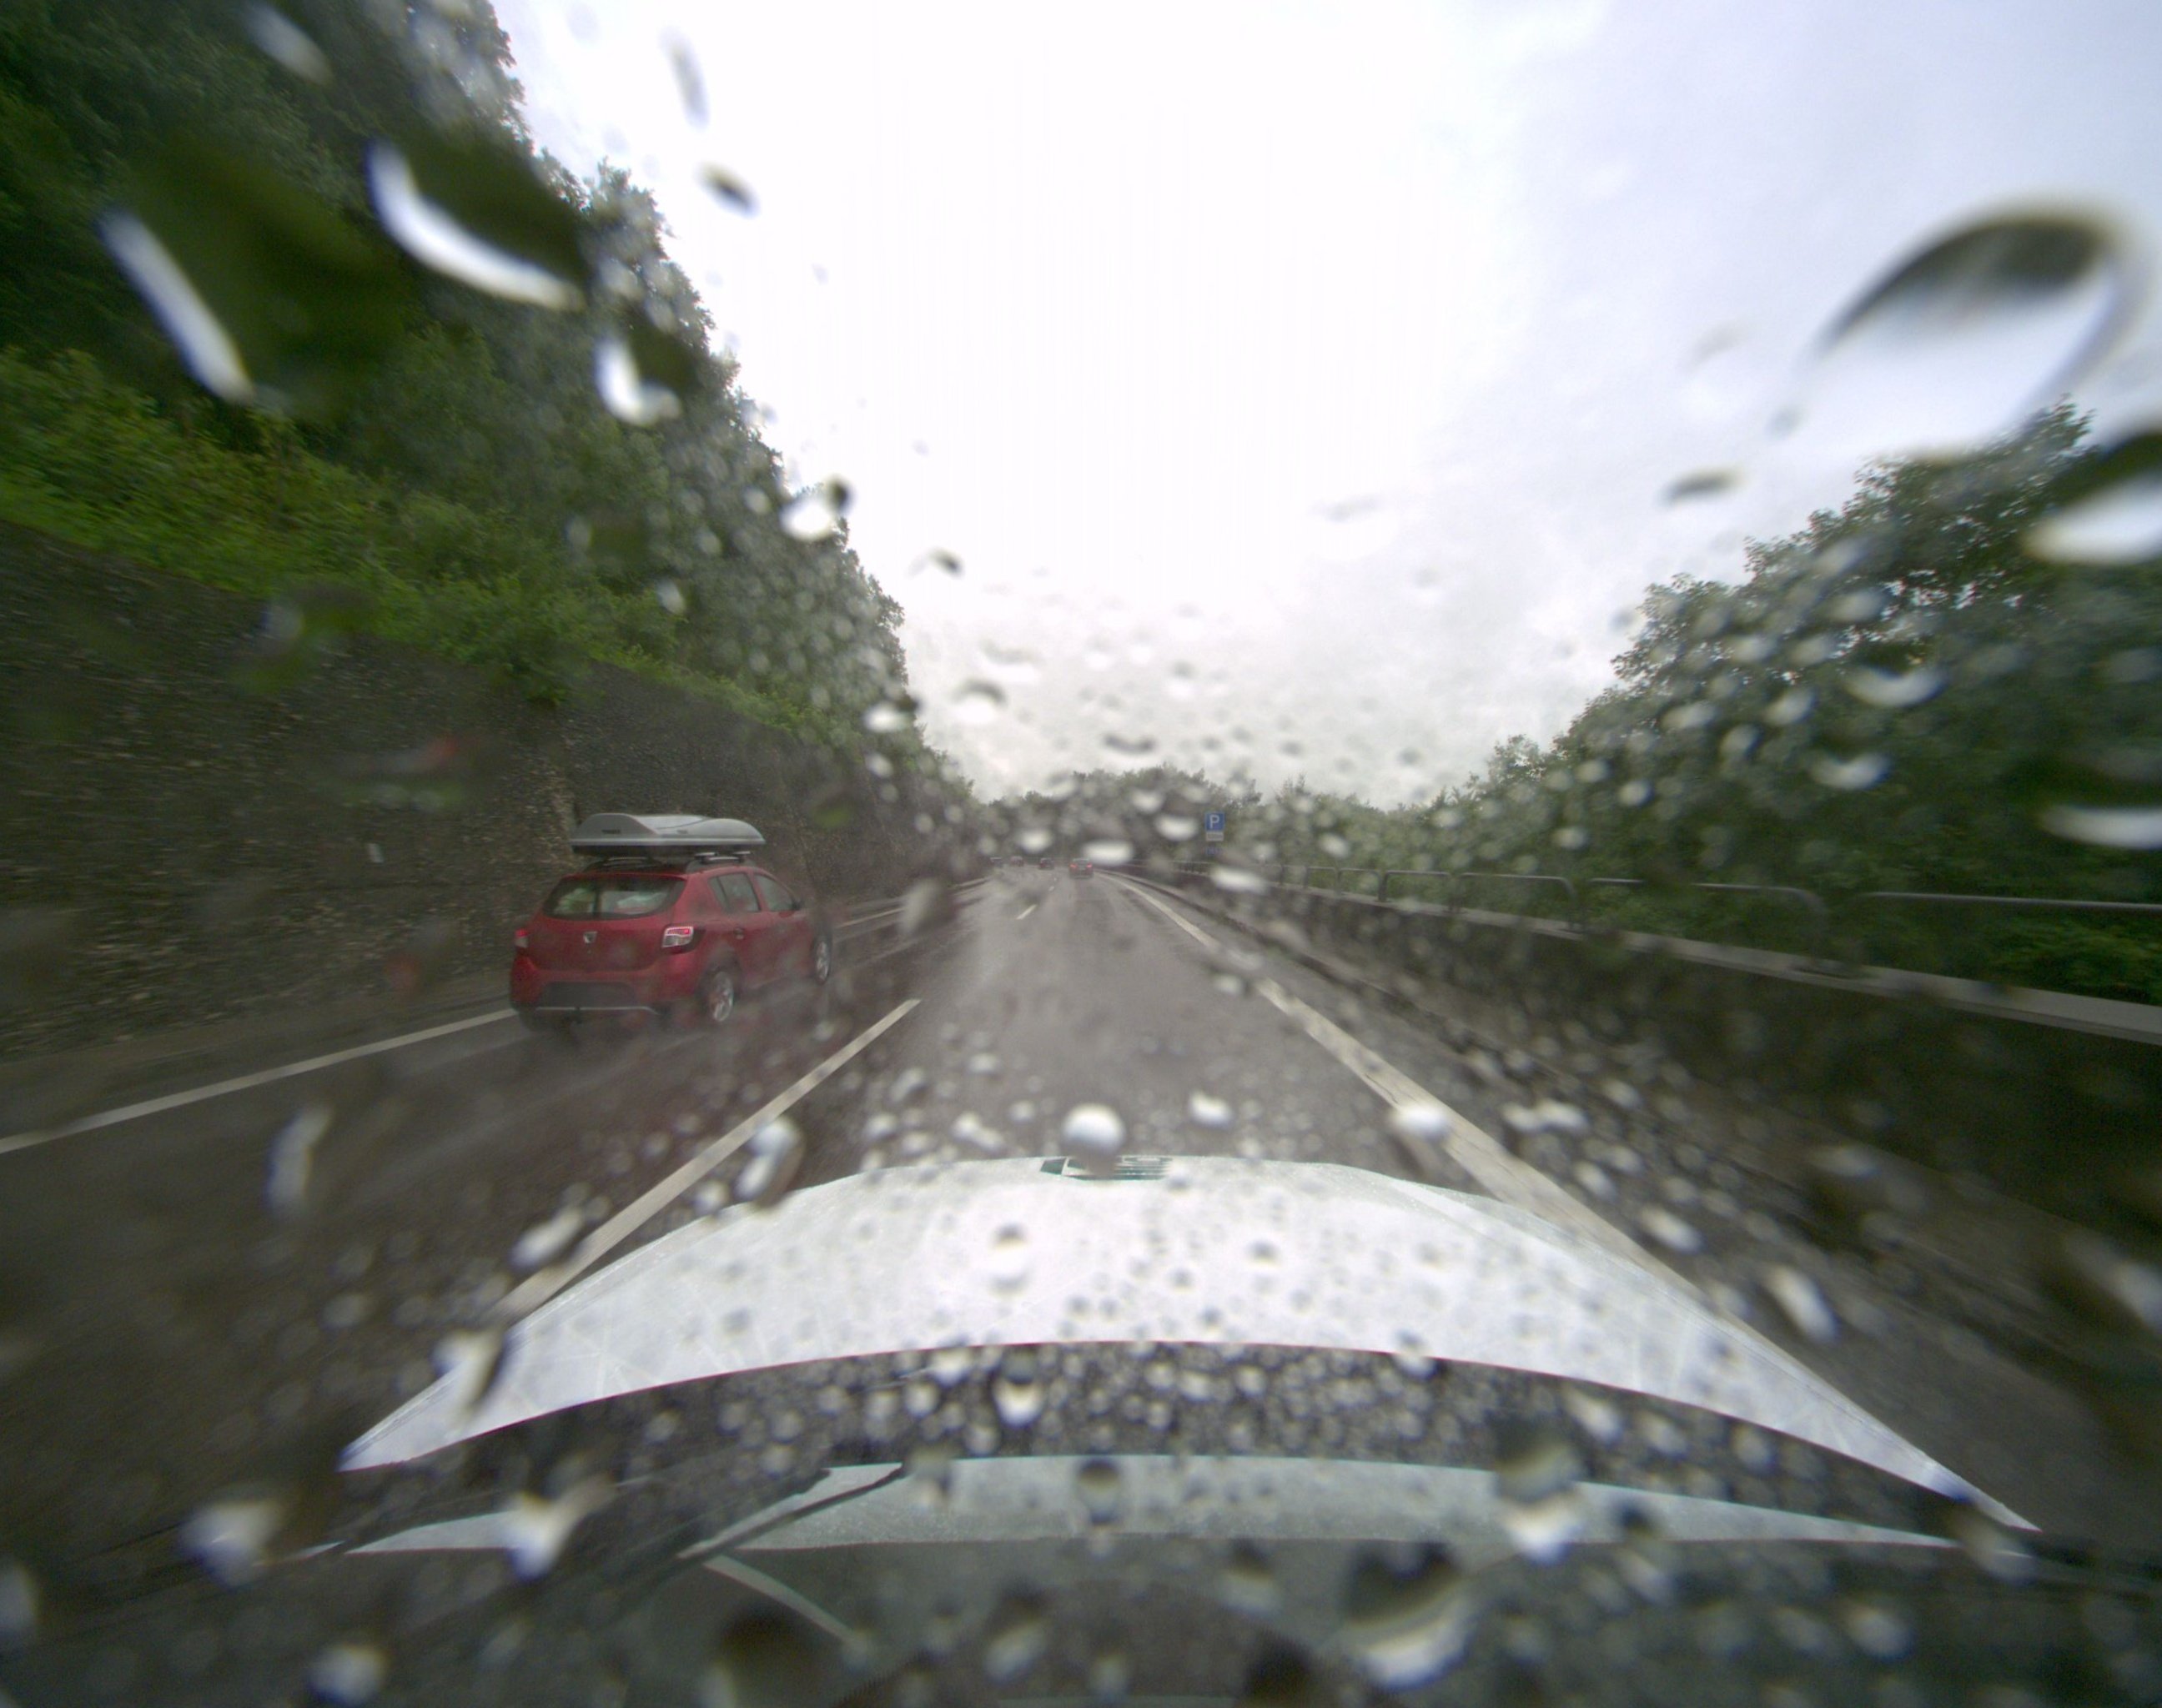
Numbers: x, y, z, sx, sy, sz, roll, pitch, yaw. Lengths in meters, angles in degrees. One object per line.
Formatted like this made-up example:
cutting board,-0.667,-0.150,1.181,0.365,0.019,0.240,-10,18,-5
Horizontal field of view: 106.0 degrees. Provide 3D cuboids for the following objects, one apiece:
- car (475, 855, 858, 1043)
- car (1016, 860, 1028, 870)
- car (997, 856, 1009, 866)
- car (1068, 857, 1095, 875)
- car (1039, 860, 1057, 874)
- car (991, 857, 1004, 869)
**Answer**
car,-4.062,0.809,8.891,1.986,1.552,4.002,-1,0,2
car,-9.835,1.835,135.502,1.798,1.467,3.991,-1,0,-7
car,-16.168,1.492,168.027,1.995,2.014,3.983,-1,-1,-12
car,0.011,0.876,62.137,1.796,1.307,3.995,-1,0,-3
car,-4.246,1.632,104.835,1.992,1.750,3.990,-1,-1,-7
car,-13.199,1.476,129.107,1.991,1.904,3.990,-1,-1,-7
